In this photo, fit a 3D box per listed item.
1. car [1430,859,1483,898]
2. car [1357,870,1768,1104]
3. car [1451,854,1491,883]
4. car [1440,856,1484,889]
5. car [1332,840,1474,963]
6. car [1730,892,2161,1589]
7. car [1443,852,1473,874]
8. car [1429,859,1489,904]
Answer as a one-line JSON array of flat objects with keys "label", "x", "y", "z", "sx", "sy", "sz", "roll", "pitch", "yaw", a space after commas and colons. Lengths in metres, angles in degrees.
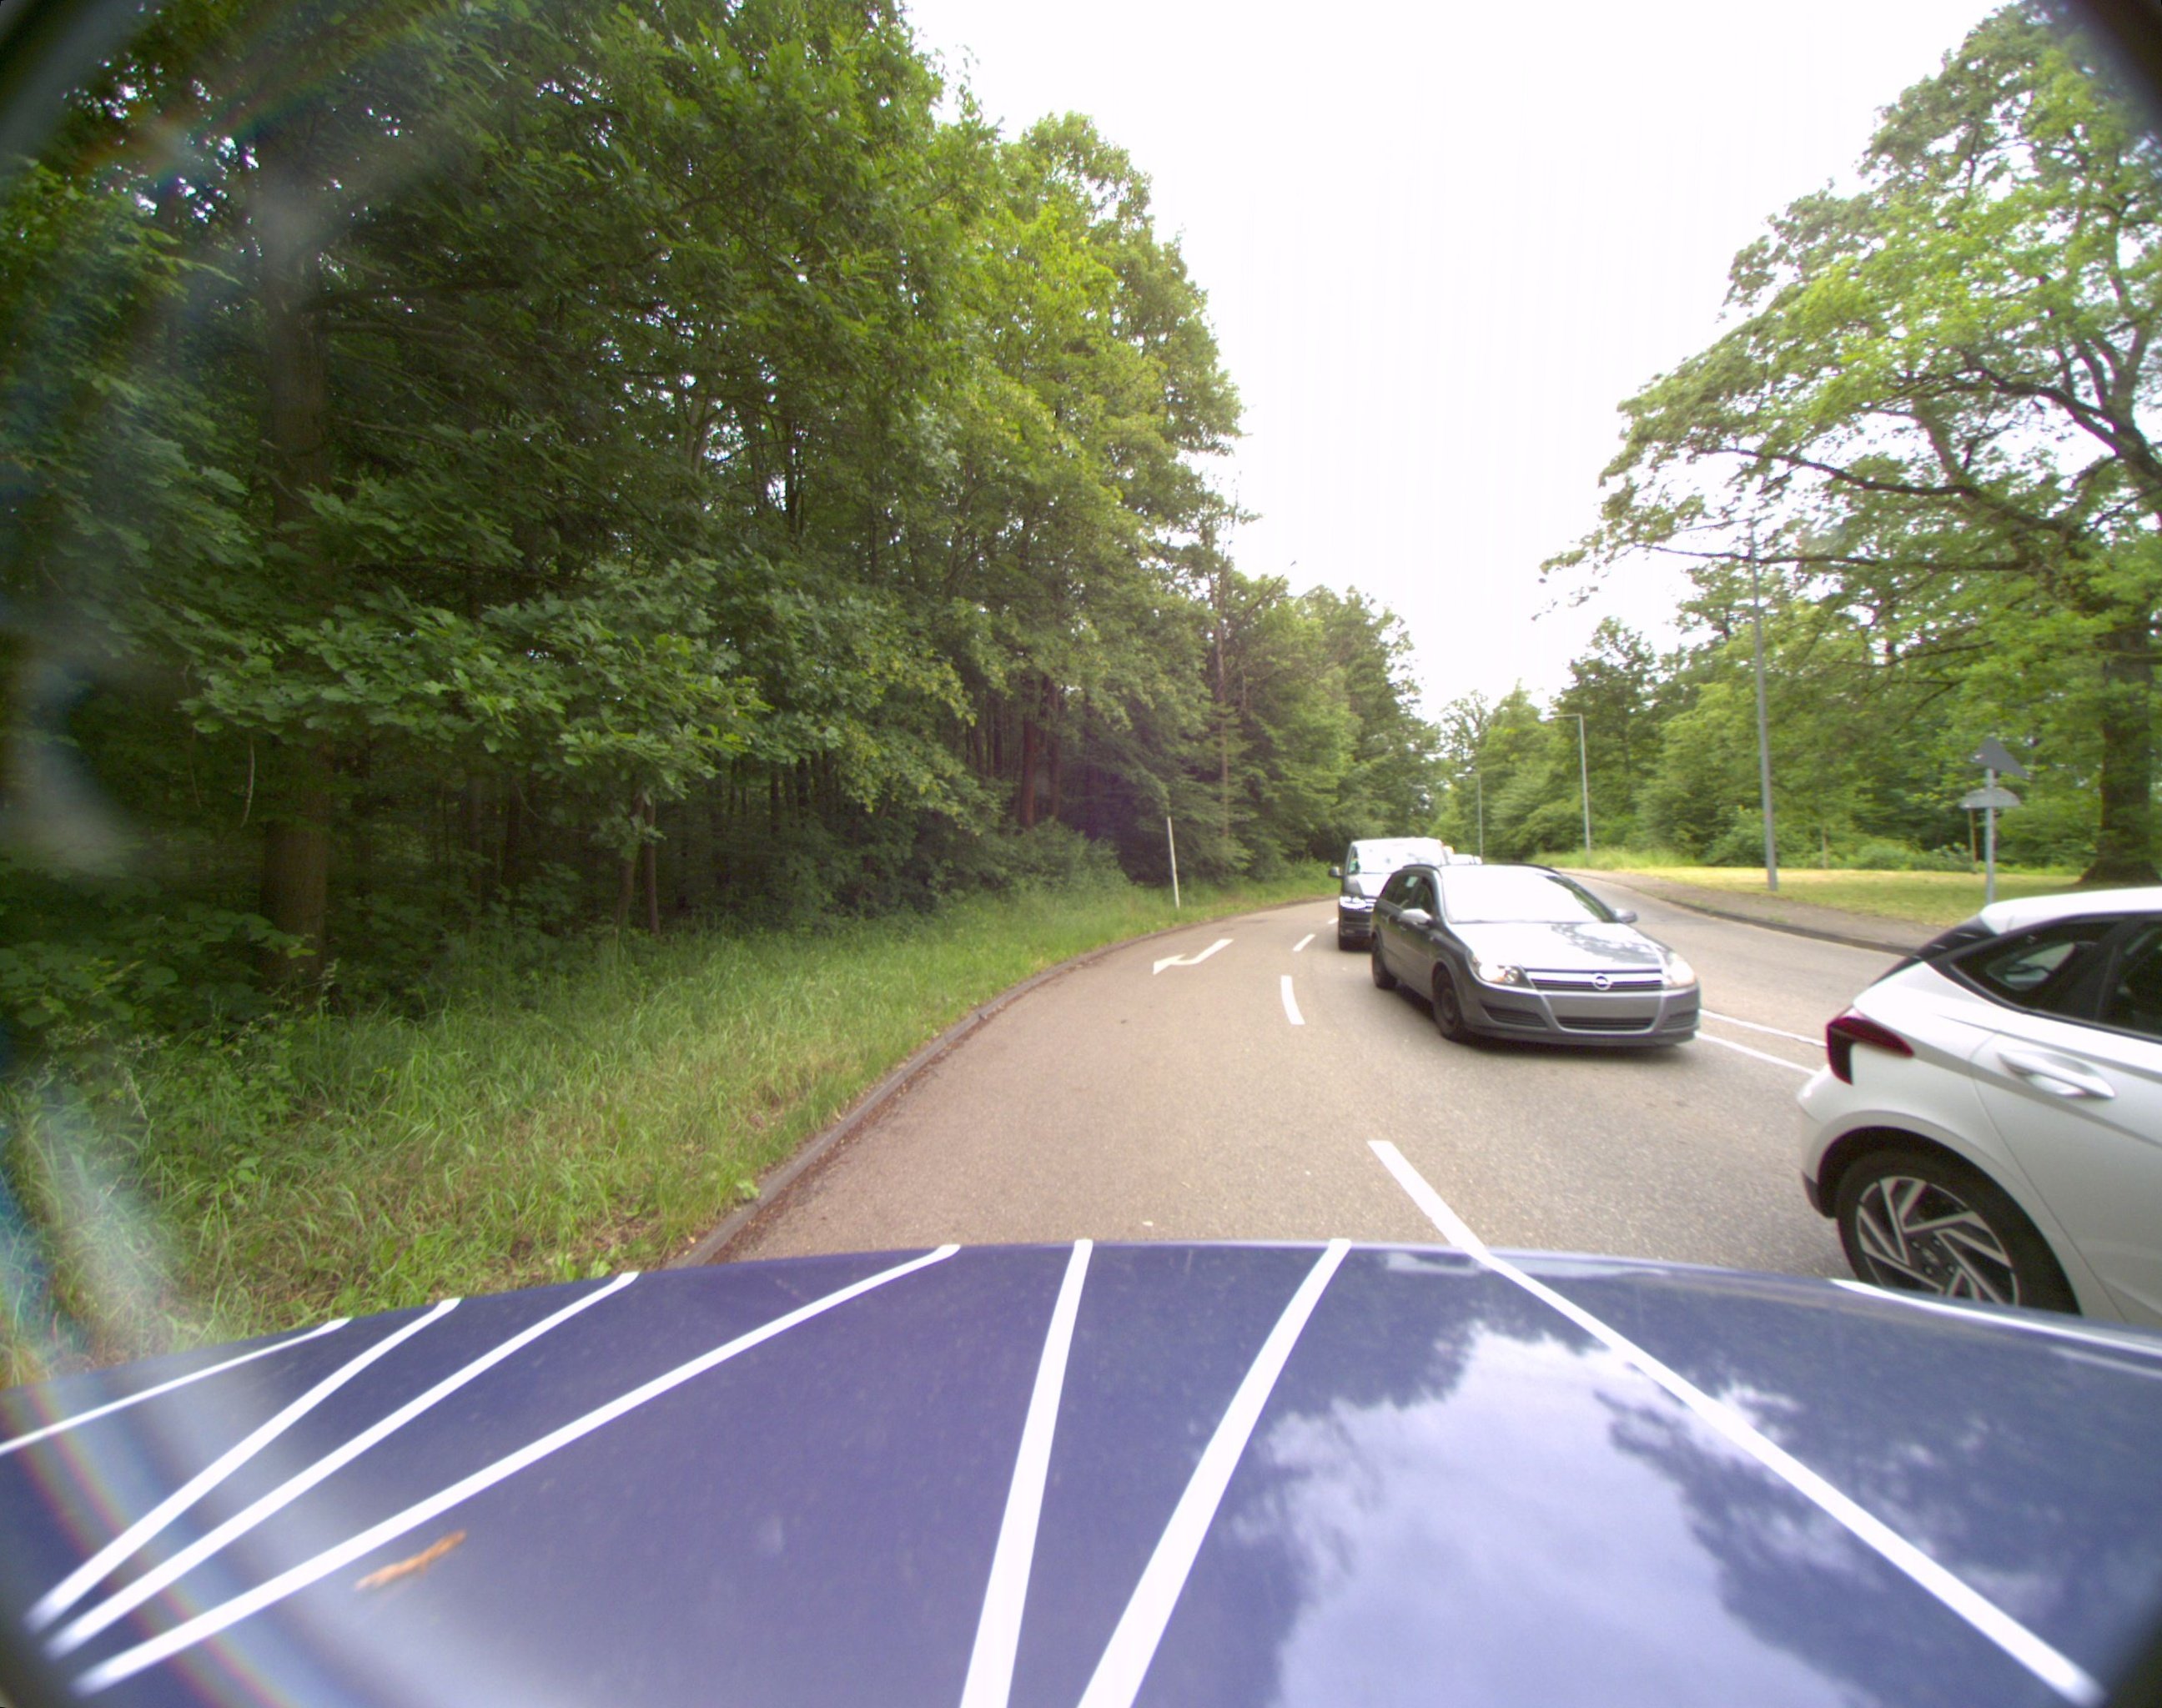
[{"label": "car", "x": 15.272, "y": 0.960, "z": 31.026, "sx": 1.775, "sy": 1.490, "sz": 3.880, "roll": -2, "pitch": -1, "yaw": 25}, {"label": "car", "x": 3.988, "y": 0.932, "z": 7.308, "sx": 1.801, "sy": 1.470, "sz": 4.474, "roll": -1, "pitch": -1, "yaw": 11}, {"label": "car", "x": 21.039, "y": 0.774, "z": 41.090, "sx": 1.775, "sy": 1.490, "sz": 3.880, "roll": -2, "pitch": -1, "yaw": 25}, {"label": "car", "x": 18.358, "y": 0.875, "z": 36.707, "sx": 1.775, "sy": 1.490, "sz": 3.880, "roll": -2, "pitch": -1, "yaw": 25}, {"label": "car", "x": 5.781, "y": 0.755, "z": 13.924, "sx": 1.987, "sy": 1.861, "sz": 4.539, "roll": -1, "pitch": -1, "yaw": 21}, {"label": "car", "x": 3.161, "y": 0.864, "z": 0.761, "sx": 1.653, "sy": 1.470, "sz": 4.074, "roll": -1, "pitch": -1, "yaw": 3}, {"label": "car", "x": 26.864, "y": 0.607, "z": 54.063, "sx": 1.775, "sy": 1.490, "sz": 3.880, "roll": -2, "pitch": -1, "yaw": 28}, {"label": "car", "x": 13.477, "y": 0.938, "z": 27.252, "sx": 1.775, "sy": 1.490, "sz": 3.880, "roll": -2, "pitch": -1, "yaw": 25}]
